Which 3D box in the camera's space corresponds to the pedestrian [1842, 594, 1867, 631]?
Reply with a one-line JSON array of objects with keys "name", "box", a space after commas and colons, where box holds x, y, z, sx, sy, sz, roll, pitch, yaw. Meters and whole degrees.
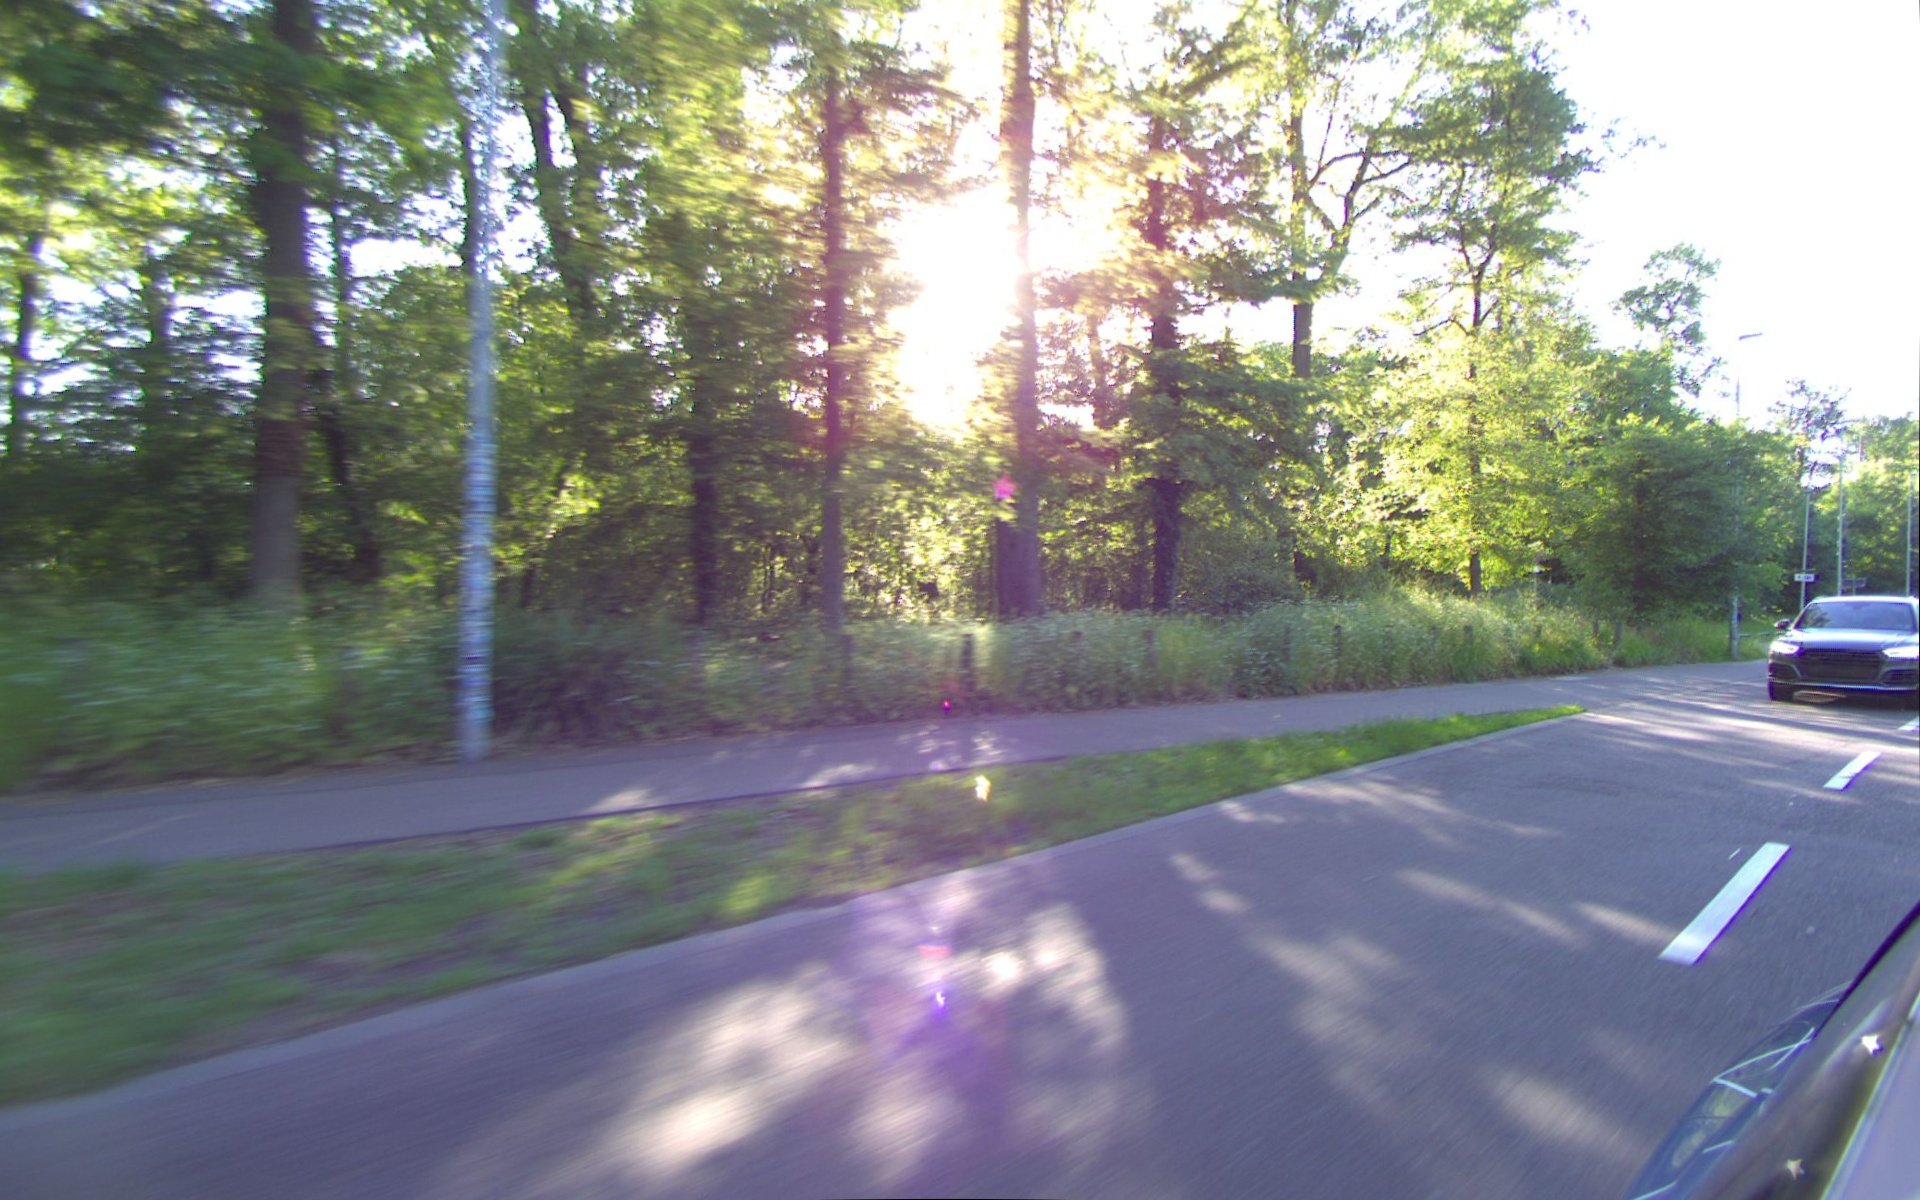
[{"name": "pedestrian", "box": [37.666, 0.520, 42.618, 0.747, 1.539, 0.641, 0, -1, -41]}]

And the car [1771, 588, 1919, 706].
[{"name": "car", "box": [14.496, 0.637, 16.059, 3.930, 1.638, 1.860, -1, 1, -41]}]
